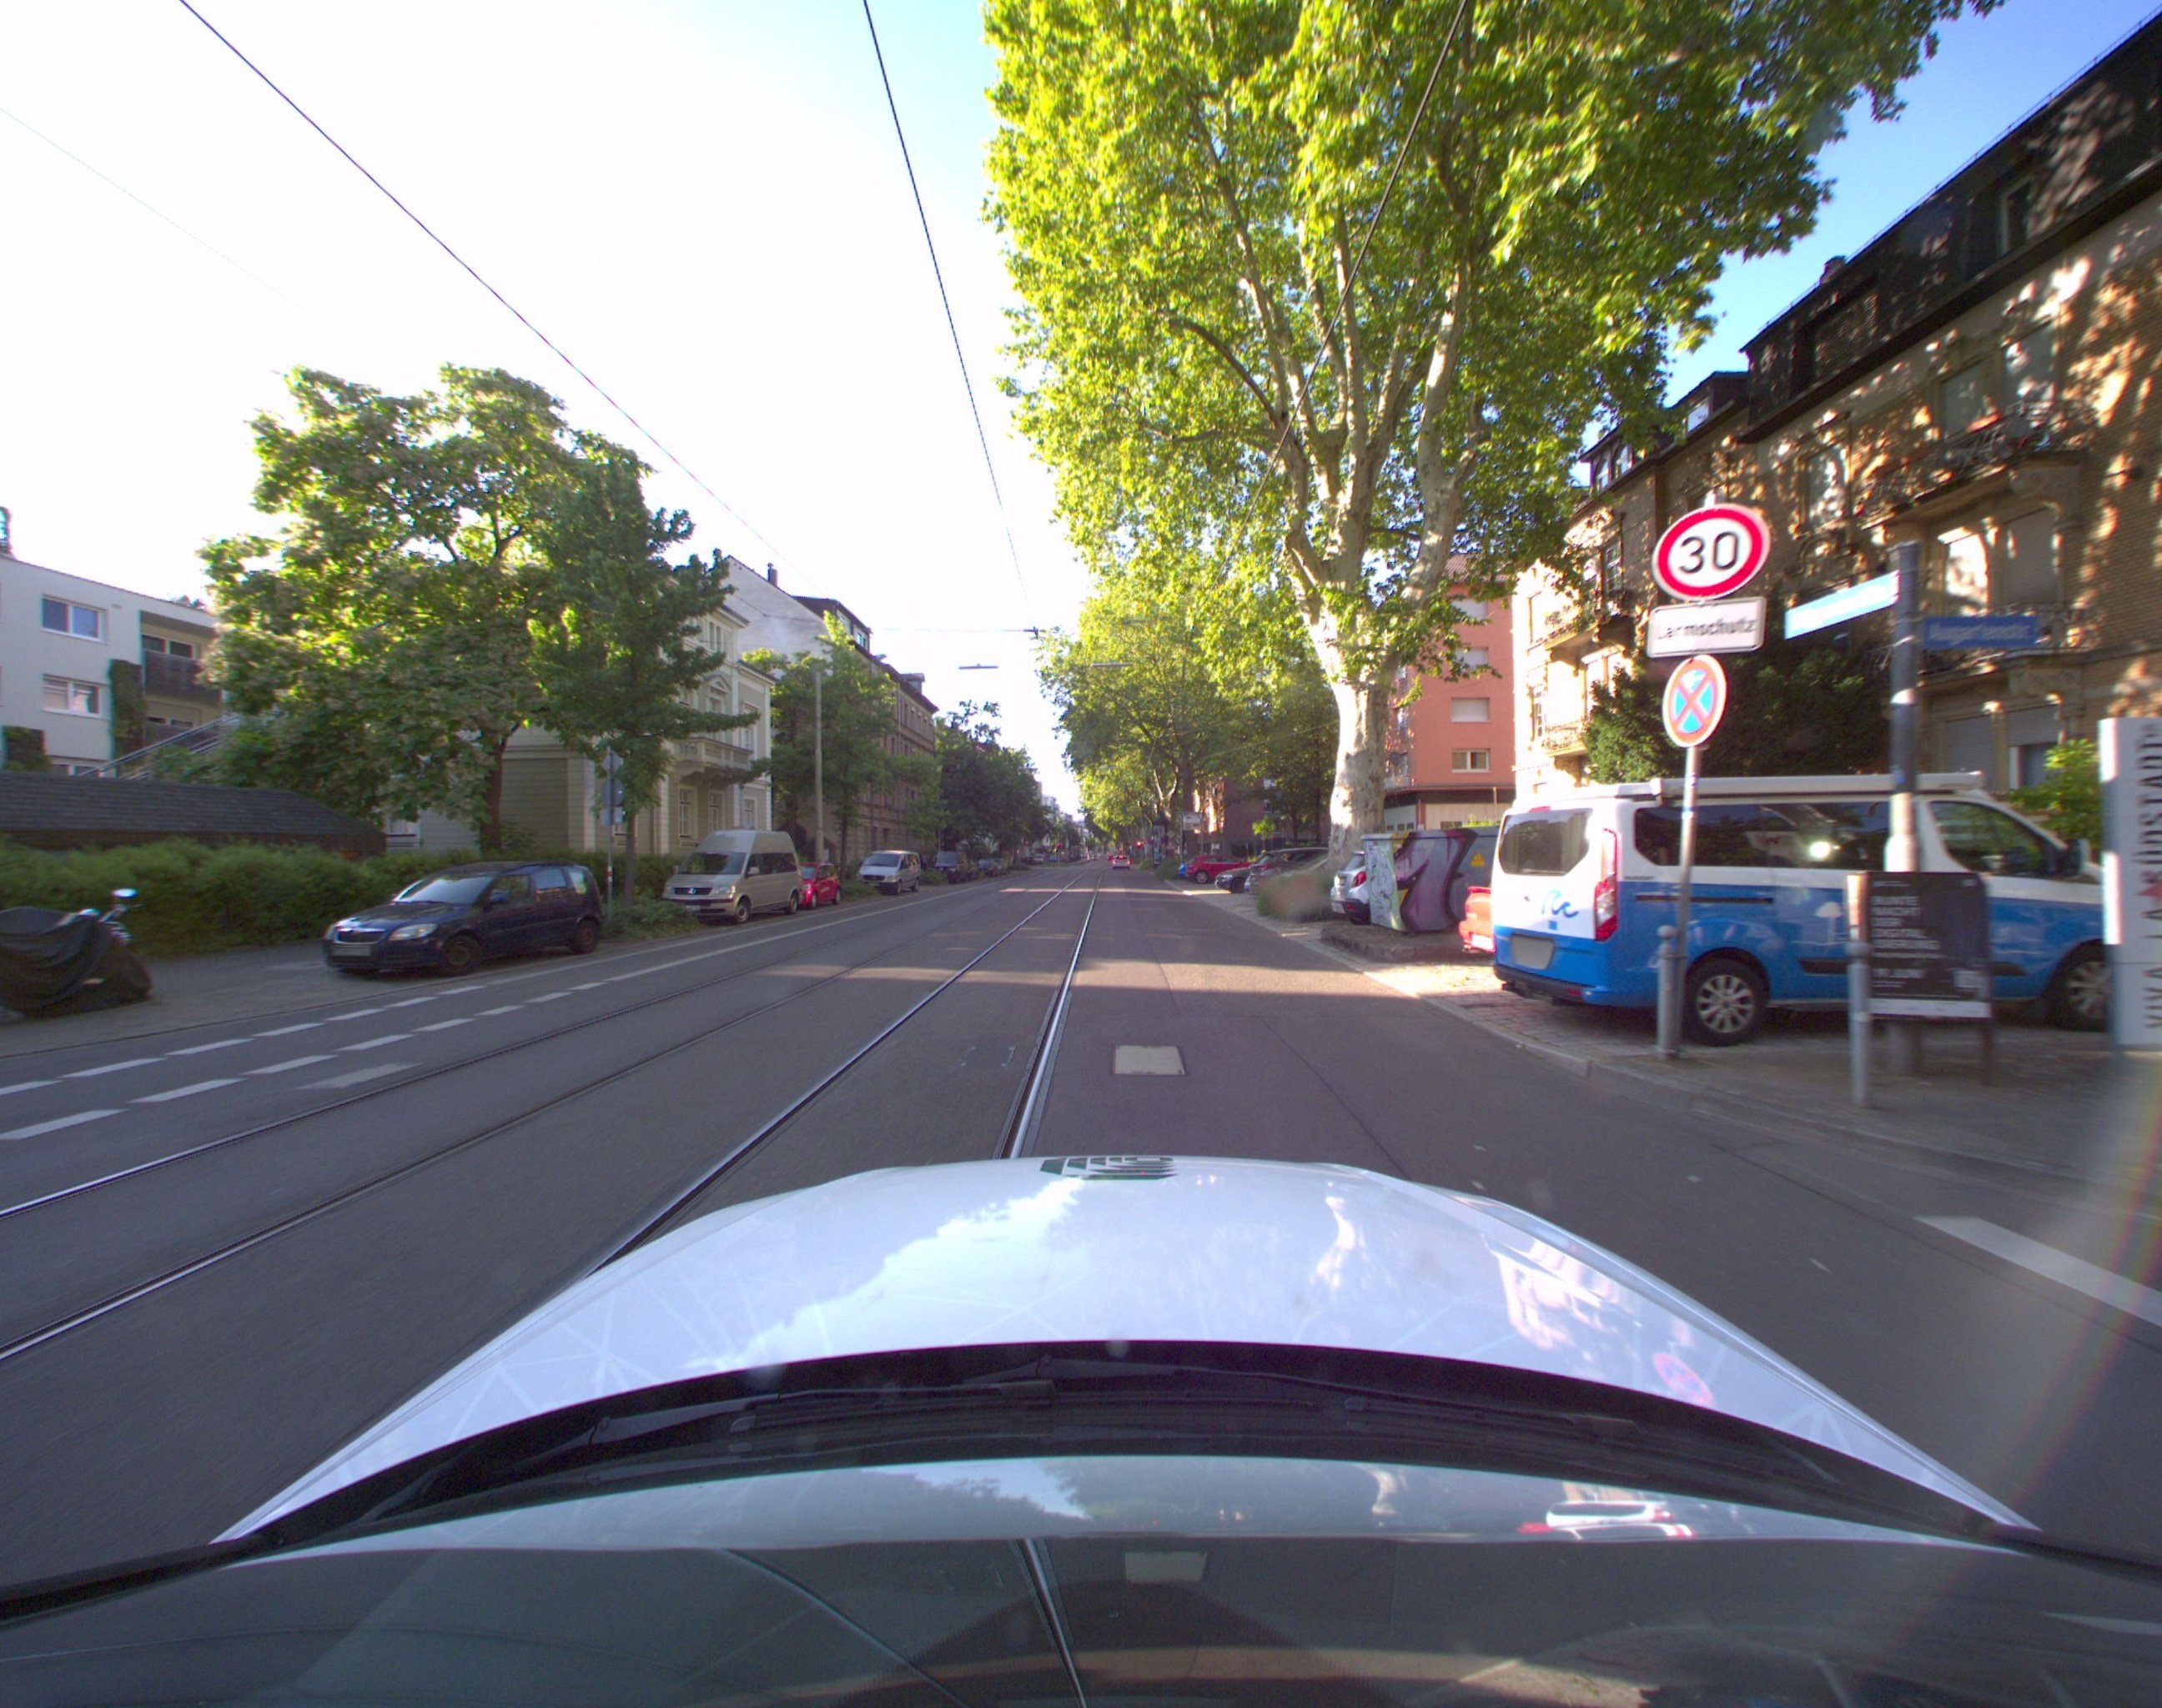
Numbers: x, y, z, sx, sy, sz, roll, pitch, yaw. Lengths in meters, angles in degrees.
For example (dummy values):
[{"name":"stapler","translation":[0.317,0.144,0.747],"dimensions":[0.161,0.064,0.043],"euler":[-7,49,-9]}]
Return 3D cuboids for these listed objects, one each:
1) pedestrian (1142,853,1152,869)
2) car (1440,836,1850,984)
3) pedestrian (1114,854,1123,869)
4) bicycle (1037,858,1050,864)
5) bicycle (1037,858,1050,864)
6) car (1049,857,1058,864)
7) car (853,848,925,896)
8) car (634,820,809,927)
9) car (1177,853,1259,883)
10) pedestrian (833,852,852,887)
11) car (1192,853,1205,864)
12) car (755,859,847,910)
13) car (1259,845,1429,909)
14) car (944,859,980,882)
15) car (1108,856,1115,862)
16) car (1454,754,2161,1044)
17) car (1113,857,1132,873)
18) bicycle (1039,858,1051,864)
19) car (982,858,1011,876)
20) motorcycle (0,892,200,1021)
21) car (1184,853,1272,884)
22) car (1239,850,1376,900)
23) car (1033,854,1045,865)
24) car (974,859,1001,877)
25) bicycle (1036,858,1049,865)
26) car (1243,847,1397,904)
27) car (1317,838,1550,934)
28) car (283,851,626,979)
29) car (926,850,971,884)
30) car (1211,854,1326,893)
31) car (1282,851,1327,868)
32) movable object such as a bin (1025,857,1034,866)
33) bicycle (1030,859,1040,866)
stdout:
[{"name":"pedestrian","translation":[8.252,0.837,101.484],"dimensions":[0.980,1.863,1.015],"euler":[-4,0,-4]},{"name":"car","translation":[6.700,0.626,9.992],"dimensions":[3.770,1.488,1.790],"euler":[-2,0,-1]},{"name":"pedestrian","translation":[4.794,0.934,104.013],"dimensions":[0.992,1.811,0.863],"euler":[-1,0,-4]},{"name":"bicycle","translation":[-6.947,1.336,150.244],"dimensions":[2.244,1.074,0.637],"euler":[2,0,2]},{"name":"bicycle","translation":[-6.852,1.325,148.495],"dimensions":[2.244,1.074,0.637],"euler":[2,0,2]},{"name":"car","translation":[-5.729,1.352,169.201],"dimensions":[1.587,1.548,4.002],"euler":[1,0,2]},{"name":"car","translation":[-8.618,0.778,37.024],"dimensions":[1.836,1.989,4.991],"euler":[-1,0,3]},{"name":"car","translation":[-9.426,0.467,21.993],"dimensions":[2.296,2.508,5.343],"euler":[-1,0,0]},{"name":"car","translation":[7.643,0.783,45.514],"dimensions":[4.378,1.543,1.822],"euler":[-1,0,8]},{"name":"pedestrian","translation":[-11.562,0.740,39.488],"dimensions":[0.602,1.662,0.948],"euler":[0,0,3]},{"name":"car","translation":[17.944,0.681,124.549],"dimensions":[1.595,1.495,3.417],"euler":[-1,0,0]},{"name":"car","translation":[-9.248,0.954,27.162],"dimensions":[1.679,1.539,3.708],"euler":[-1,0,1]},{"name":"car","translation":[7.201,0.618,22.644],"dimensions":[4.181,1.619,1.819],"euler":[-1,0,4]},{"name":"car","translation":[-8.203,1.120,56.463],"dimensions":[1.846,1.458,4.270],"euler":[-1,0,1]},{"name":"car","translation":[7.358,1.195,195.707],"dimensions":[1.781,1.513,4.002],"euler":[-1,0,2]},{"name":"car","translation":[6.289,0.320,7.322],"dimensions":[4.833,2.013,2.193],"euler":[-2,0,-2]},{"name":"car","translation":[4.150,1.066,81.752],"dimensions":[1.781,1.513,4.002],"euler":[-1,0,2]},{"name":"bicycle","translation":[-6.742,1.358,152.072],"dimensions":[2.244,1.074,0.637],"euler":[2,0,2]},{"name":"car","translation":[-7.460,1.154,72.231],"dimensions":[1.691,1.550,4.542],"euler":[0,0,5]},{"name":"motorcycle","translation":[-11.077,1.072,8.799],"dimensions":[0.670,1.139,2.153],"euler":[2,2,4]},{"name":"car","translation":[7.750,0.768,43.226],"dimensions":[4.384,1.543,1.954],"euler":[-1,0,4]},{"name":"car","translation":[7.606,0.700,27.624],"dimensions":[4.181,1.574,1.819],"euler":[-1,0,4]},{"name":"car","translation":[-7.023,0.920,137.329],"dimensions":[1.682,1.940,4.001],"euler":[-1,0,2]},{"name":"car","translation":[-7.643,1.147,66.851],"dimensions":[1.652,1.445,3.950],"euler":[0,0,1]},{"name":"bicycle","translation":[-6.897,1.325,144.952],"dimensions":[2.244,1.074,0.637],"euler":[2,0,2]},{"name":"car","translation":[7.318,0.631,25.230],"dimensions":[4.188,1.619,1.878],"euler":[-1,0,-1]},{"name":"car","translation":[6.799,0.597,15.990],"dimensions":[3.770,1.619,1.790],"euler":[-2,0,-1]},{"name":"car","translation":[-9.602,0.827,13.049],"dimensions":[1.983,1.690,4.266],"euler":[-1,0,4]},{"name":"car","translation":[-8.279,0.770,51.294],"dimensions":[1.987,2.013,4.835],"euler":[-1,0,1]},{"name":"car","translation":[7.376,0.757,32.349],"dimensions":[4.184,1.448,1.818],"euler":[-1,0,1]},{"name":"car","translation":[19.498,0.478,71.156],"dimensions":[3.527,1.452,1.683],"euler":[-1,0,-1]},{"name":"movable object such as a bin","translation":[-7.850,1.184,123.939],"dimensions":[1.167,1.348,0.782],"euler":[3,-1,-3]},{"name":"bicycle","translation":[-7.134,1.358,125.995],"dimensions":[1.528,1.075,0.885],"euler":[2,0,1]}]
